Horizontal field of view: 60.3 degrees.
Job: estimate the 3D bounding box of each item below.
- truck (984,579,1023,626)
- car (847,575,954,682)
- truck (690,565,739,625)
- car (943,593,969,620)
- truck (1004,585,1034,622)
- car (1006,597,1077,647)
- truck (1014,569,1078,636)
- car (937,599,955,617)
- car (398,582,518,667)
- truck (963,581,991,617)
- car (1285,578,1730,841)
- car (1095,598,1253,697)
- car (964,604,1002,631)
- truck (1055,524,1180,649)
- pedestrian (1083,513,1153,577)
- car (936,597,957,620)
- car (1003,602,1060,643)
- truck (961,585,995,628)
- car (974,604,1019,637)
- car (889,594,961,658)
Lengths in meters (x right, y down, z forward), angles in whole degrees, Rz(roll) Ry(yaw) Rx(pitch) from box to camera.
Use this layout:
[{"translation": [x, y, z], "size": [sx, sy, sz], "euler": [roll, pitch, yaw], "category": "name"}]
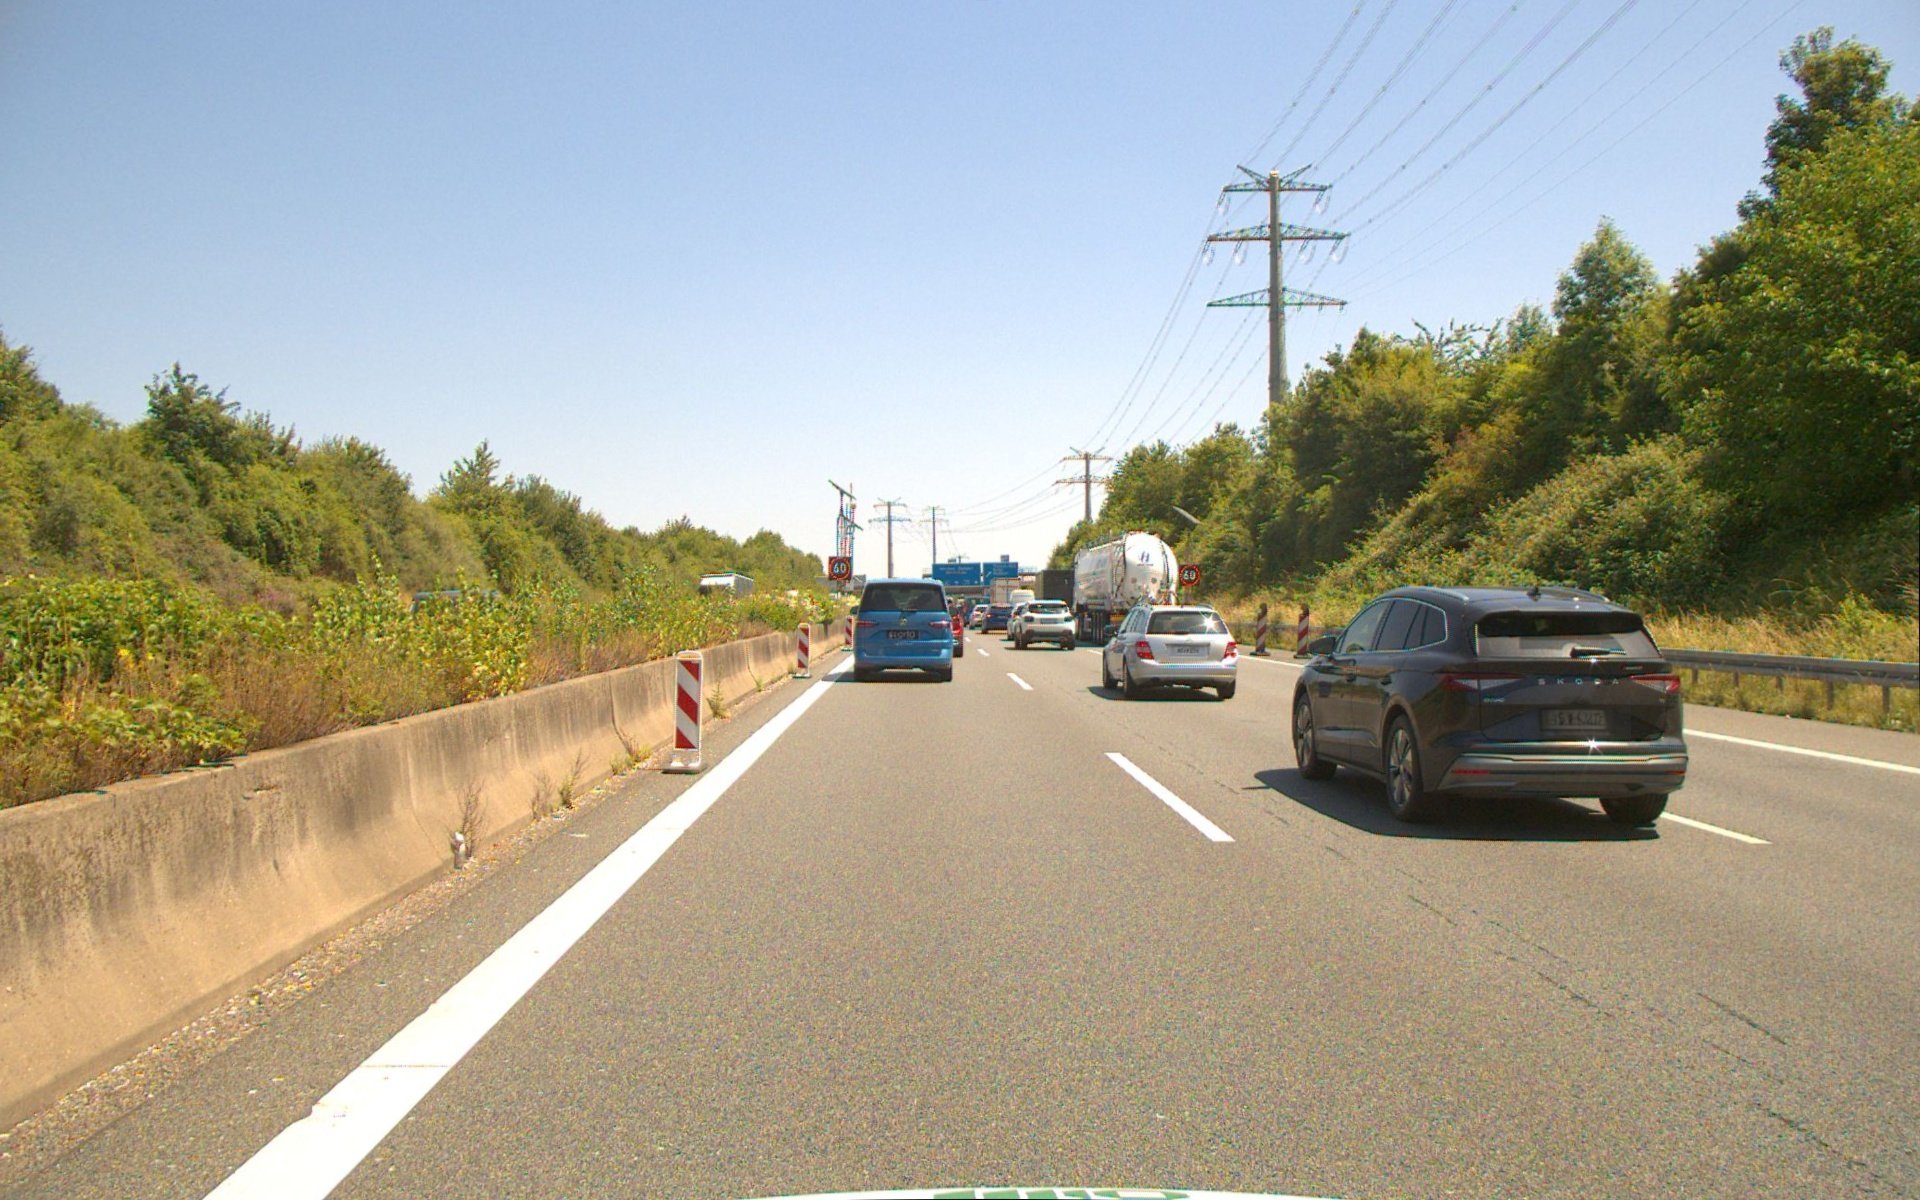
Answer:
[{"translation": [4.162, 0.252, 160.858], "size": [2.879, 4.366, 12.545], "euler": [1, 0, -2], "category": "truck"}, {"translation": [-1.225, 0.529, 32.201], "size": [1.834, 1.912, 4.379], "euler": [1, 0, -5], "category": "car"}, {"translation": [-18.443, -0.344, 124.488], "size": [2.696, 4.239, 6.408], "euler": [-3, 0, -2], "category": "truck"}, {"translation": [-0.338, 0.533, 131.811], "size": [1.953, 2.049, 3.998], "euler": [1, 0, -2], "category": "car"}, {"translation": [4.627, 0.286, 130.860], "size": [1.953, 2.771, 5.677], "euler": [1, 0, -2], "category": "truck"}, {"translation": [2.591, 0.695, 53.310], "size": [1.870, 1.534, 3.919], "euler": [1, 0, -3], "category": "car"}, {"translation": [4.898, 0.149, 96.561], "size": [2.591, 3.601, 12.545], "euler": [1, 0, -2], "category": "truck"}, {"translation": [-1.659, 0.881, 191.952], "size": [1.953, 2.049, 3.998], "euler": [1, 0, -2], "category": "car"}, {"translation": [-13.447, 0.627, 44.602], "size": [1.954, 2.133, 4.604], "euler": [-1, 0, -2], "category": "car"}, {"translation": [2.115, -0.111, 213.608], "size": [2.879, 4.366, 12.545], "euler": [1, 0, -2], "category": "truck"}, {"translation": [3.881, 0.684, 12.609], "size": [1.791, 1.643, 4.429], "euler": [0, 0, -2], "category": "car"}, {"translation": [3.409, 0.721, 27.118], "size": [1.785, 1.462, 4.381], "euler": [1, 0, -3], "category": "car"}, {"translation": [1.323, 1.000, 96.205], "size": [1.870, 1.542, 4.381], "euler": [1, 0, -3], "category": "car"}, {"translation": [5.777, -0.418, 63.817], "size": [2.591, 4.143, 16.433], "euler": [1, 0, -2], "category": "truck"}, {"translation": [5.466, -1.892, 57.632], "size": [1.953, 2.049, 3.999], "euler": [1, 0, -1], "category": "pedestrian"}, {"translation": [-1.273, 0.812, 154.327], "size": [1.953, 2.049, 3.999], "euler": [1, 0, -1], "category": "car"}, {"translation": [2.860, 0.887, 66.845], "size": [1.870, 1.597, 4.381], "euler": [1, 0, -3], "category": "car"}, {"translation": [1.167, 0.420, 109.368], "size": [1.953, 2.771, 5.677], "euler": [1, 0, -2], "category": "truck"}, {"translation": [1.778, 0.967, 81.082], "size": [1.870, 1.542, 4.381], "euler": [1, 0, -3], "category": "car"}, {"translation": [-0.995, 0.691, 45.476], "size": [1.870, 1.659, 4.381], "euler": [0, 0, -2], "category": "car"}]
